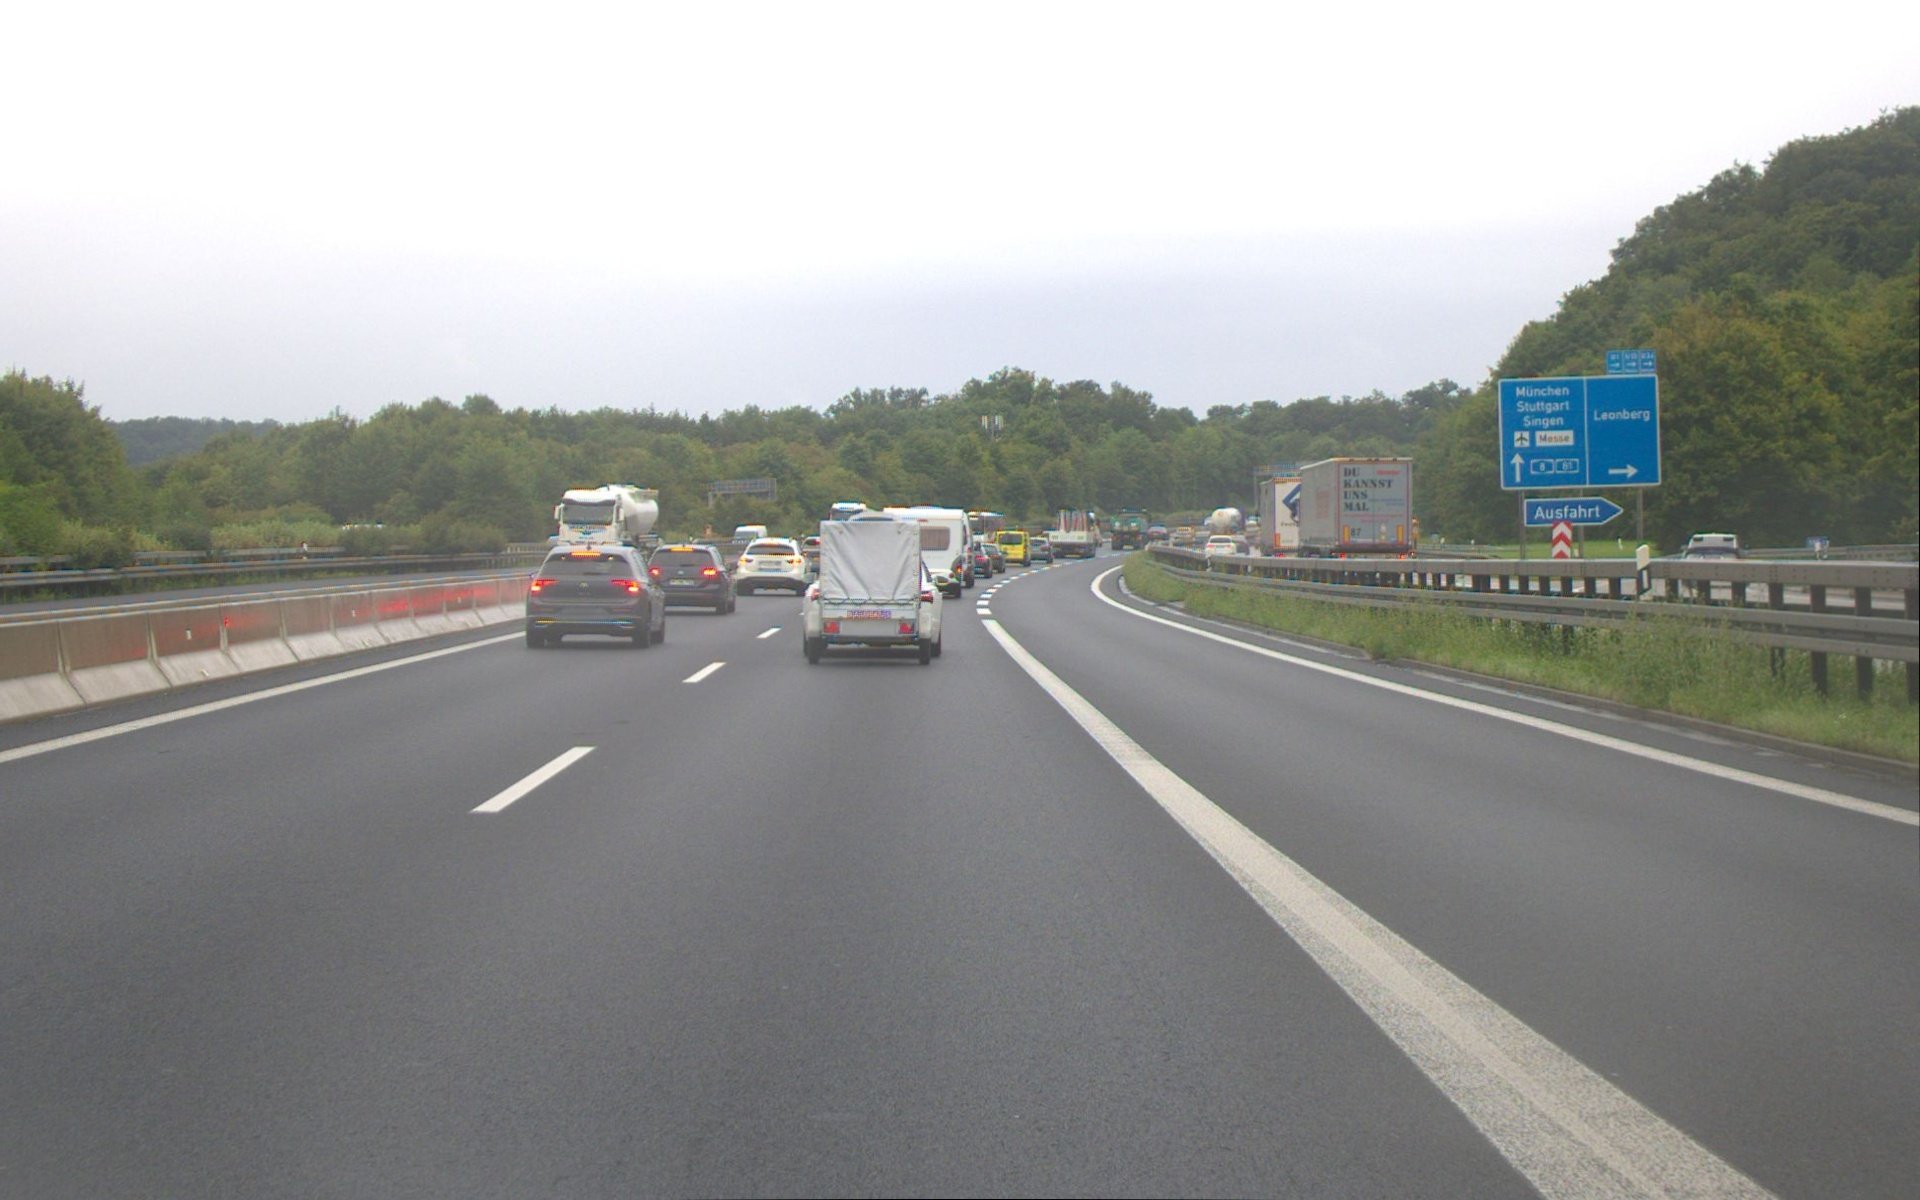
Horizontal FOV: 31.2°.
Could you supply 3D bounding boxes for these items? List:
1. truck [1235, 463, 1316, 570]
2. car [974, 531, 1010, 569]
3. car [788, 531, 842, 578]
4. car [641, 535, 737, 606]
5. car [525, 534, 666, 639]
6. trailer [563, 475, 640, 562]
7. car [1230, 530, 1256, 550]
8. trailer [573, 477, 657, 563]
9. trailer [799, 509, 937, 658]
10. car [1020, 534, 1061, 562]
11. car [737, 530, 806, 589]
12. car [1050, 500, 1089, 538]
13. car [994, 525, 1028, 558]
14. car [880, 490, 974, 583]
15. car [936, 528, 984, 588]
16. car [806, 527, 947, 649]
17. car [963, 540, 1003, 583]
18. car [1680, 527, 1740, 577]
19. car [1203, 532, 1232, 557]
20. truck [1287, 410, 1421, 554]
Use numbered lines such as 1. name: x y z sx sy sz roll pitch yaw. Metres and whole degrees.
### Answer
1. truck: 14.351 -3.749 157.400 3.216 4.650 13.031 0 1 3
2. car: 1.535 -2.413 165.081 1.676 1.806 4.000 0 1 1
3. car: -5.094 -1.600 121.048 1.775 1.634 4.043 0 1 -1
4. car: -5.693 -0.633 72.494 1.765 1.451 4.000 0 1 -1
5. car: -5.242 -0.219 49.769 1.675 1.451 4.000 0 1 -1
6. trailer: -15.543 -3.502 149.564 2.636 3.703 6.492 0 1 0
7. car: 20.241 -4.300 246.032 1.676 1.451 3.999 0 1 7
8. trailer: -15.553 -3.575 155.616 2.636 3.723 10.811 0 1 0
9. trailer: -1.140 -0.225 44.000 1.676 1.806 4.000 0 1 0
10. car: 4.882 -3.122 208.549 2.038 1.677 3.999 0 1 8
11. car: -5.335 -1.162 97.688 1.775 1.634 4.043 0 1 -1
12. car: 7.568 -5.594 237.269 2.516 2.566 5.311 0 1 4
13. car: 2.870 -3.252 192.520 1.676 1.806 4.000 0 1 4
14. car: -0.916 -1.821 99.436 2.507 2.576 5.699 0 1 1
15. car: 0.005 -1.489 121.520 1.676 2.060 4.000 0 1 0
16. car: -1.108 -0.191 47.779 1.818 1.610 4.778 0 1 0
17. car: 1.016 -1.682 149.404 1.676 1.806 4.000 0 1 1
18. car: 22.469 -1.437 102.916 1.677 1.451 3.998 0 1 13
19. car: 15.254 -3.269 203.725 1.676 1.451 4.000 0 1 4
20. truck: 13.475 -3.932 118.638 3.215 4.650 13.033 0 1 0
